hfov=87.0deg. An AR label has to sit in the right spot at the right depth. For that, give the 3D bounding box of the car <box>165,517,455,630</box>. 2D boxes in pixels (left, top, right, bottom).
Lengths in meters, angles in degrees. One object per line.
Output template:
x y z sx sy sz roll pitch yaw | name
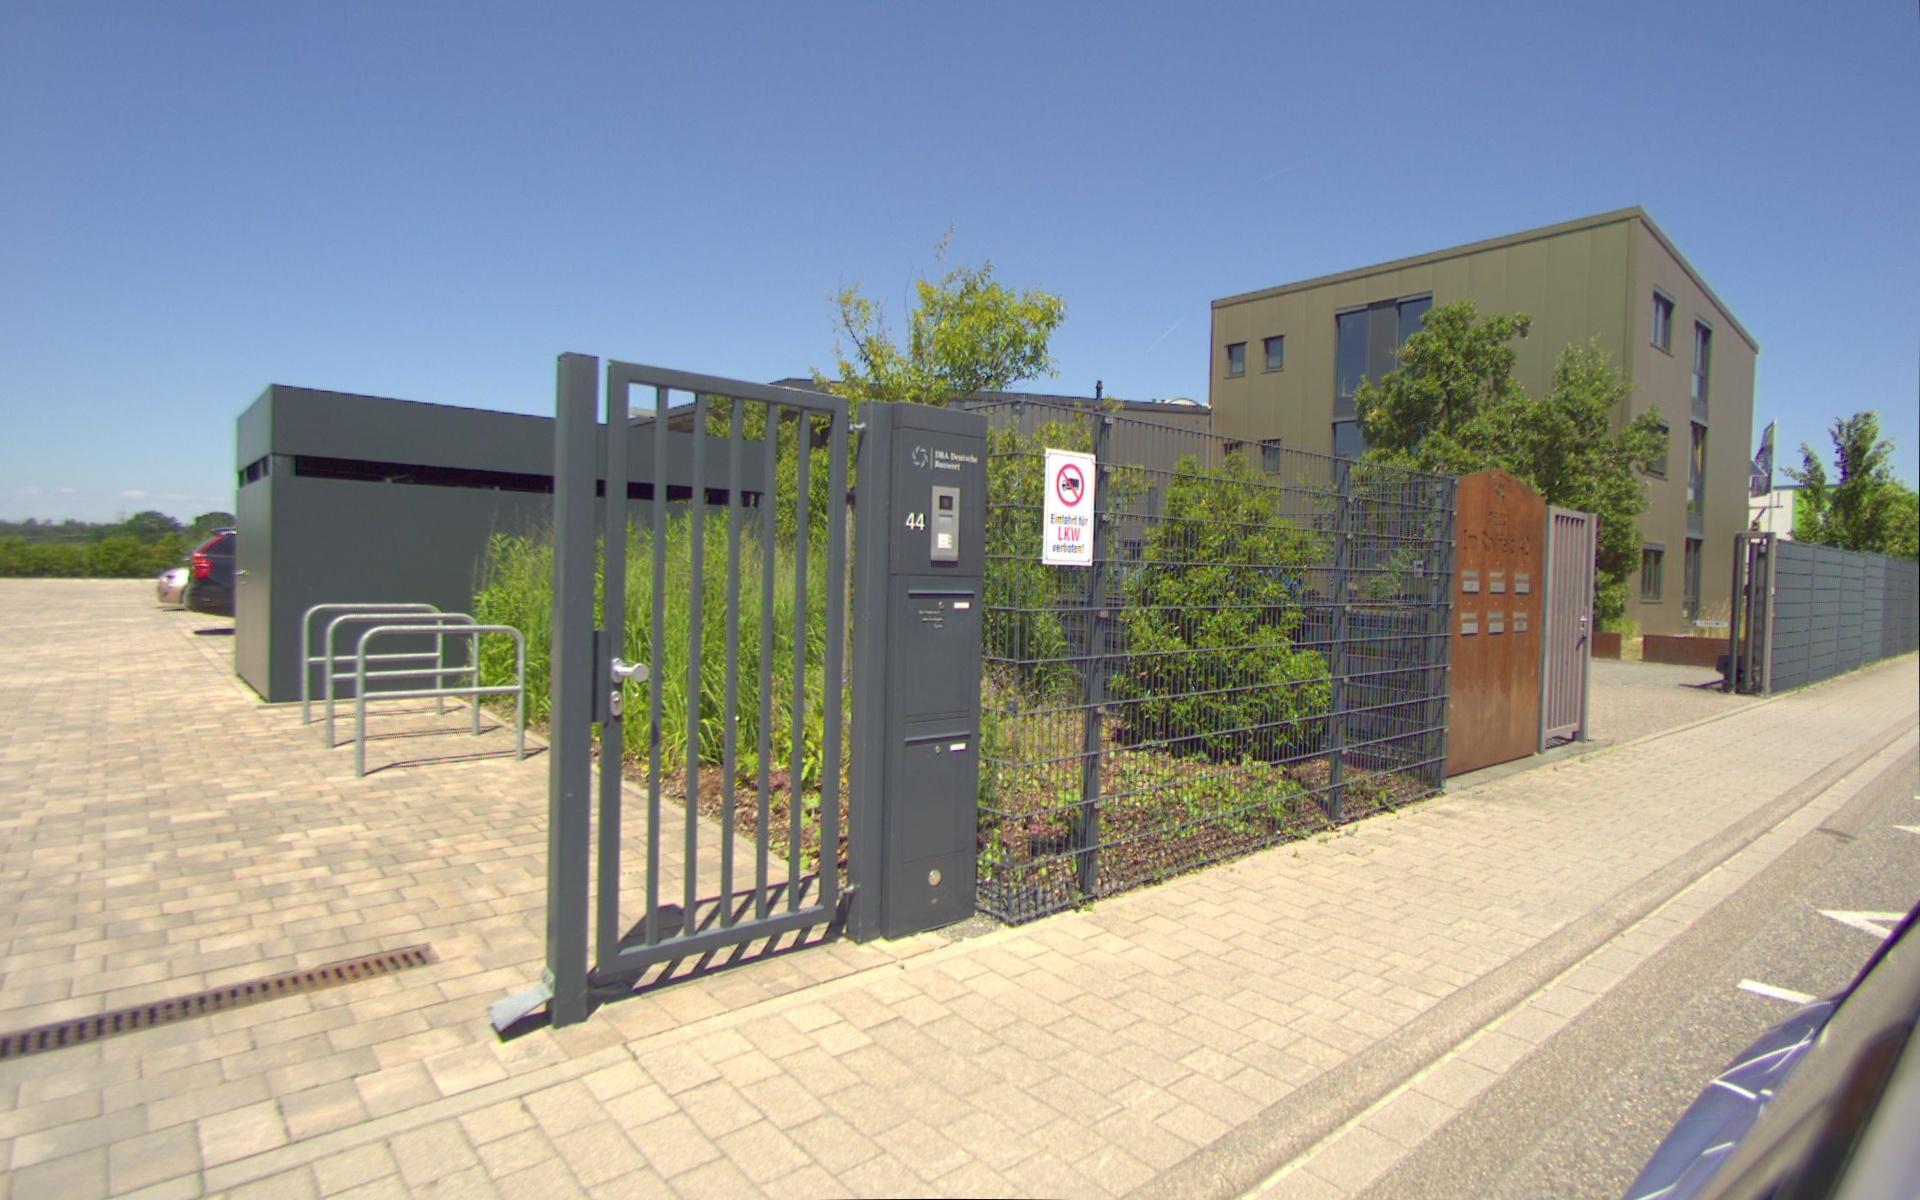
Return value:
-10.944 -0.437 17.167 3.930 1.694 1.870 0 2 -41 | car

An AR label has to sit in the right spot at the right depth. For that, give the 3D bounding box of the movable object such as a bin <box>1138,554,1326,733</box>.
2.467 0.341 9.261 0.932 1.477 1.337 0 2 -41 | movable object such as a bin

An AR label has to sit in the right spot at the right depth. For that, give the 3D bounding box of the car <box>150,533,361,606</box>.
-16.520 -0.701 23.810 3.930 1.579 1.870 0 2 -41 | car

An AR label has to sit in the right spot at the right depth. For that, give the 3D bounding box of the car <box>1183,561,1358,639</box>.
6.570 -0.030 21.235 3.931 1.461 1.658 0 3 -41 | car
